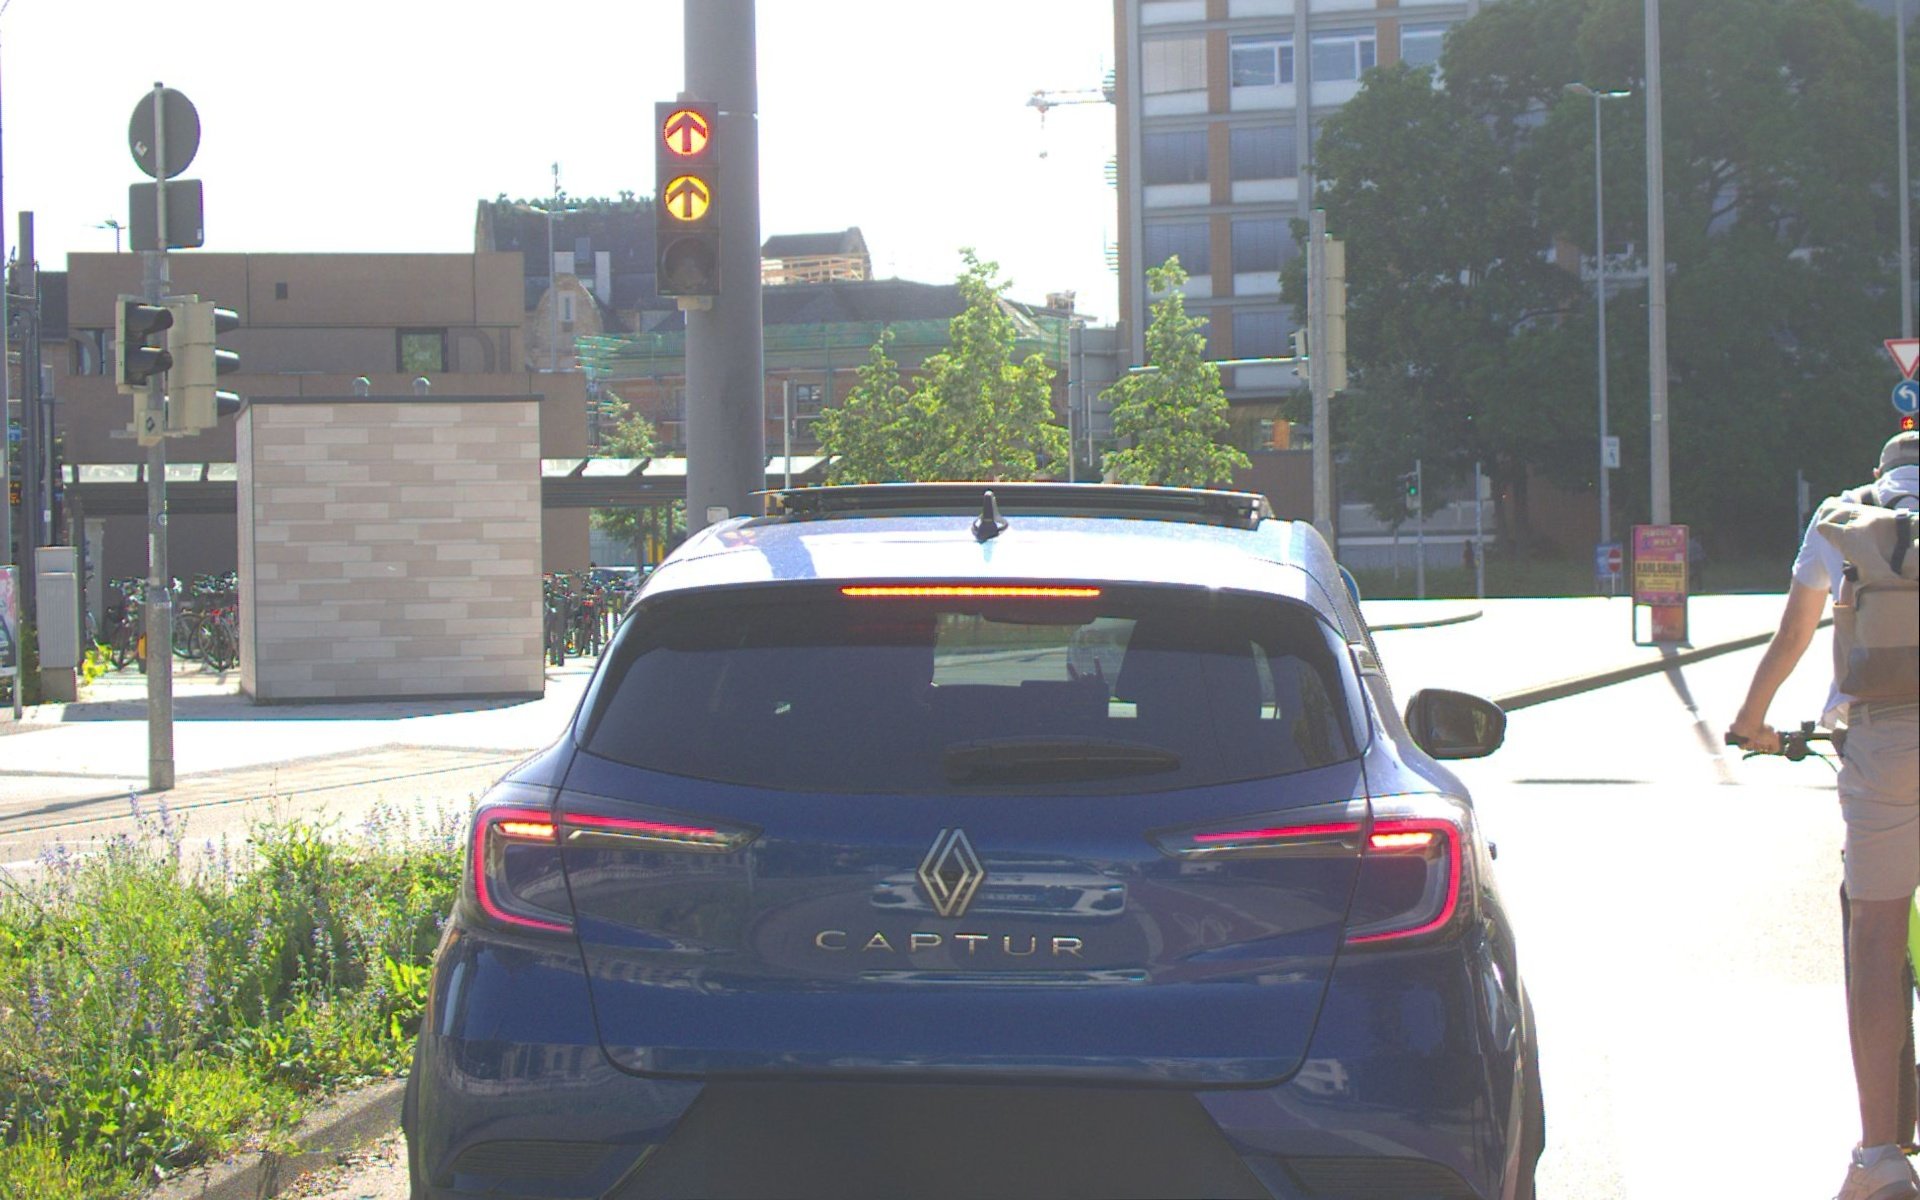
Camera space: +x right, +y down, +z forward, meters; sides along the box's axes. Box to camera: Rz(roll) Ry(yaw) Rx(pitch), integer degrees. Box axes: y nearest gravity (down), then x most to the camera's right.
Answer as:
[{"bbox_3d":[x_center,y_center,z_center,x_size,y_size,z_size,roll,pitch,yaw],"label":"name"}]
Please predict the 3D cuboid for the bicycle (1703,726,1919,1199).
[{"bbox_3d":[2.102,0.872,7.714,0.663,1.043,1.890,0,2,6],"label":"bicycle"}]

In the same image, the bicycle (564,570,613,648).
[{"bbox_3d":[-5.273,0.134,48.685,0.580,1.084,2.059,0,0,-9],"label":"bicycle"}]

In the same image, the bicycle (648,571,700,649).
[{"bbox_3d":[-4.063,0.138,48.757,0.580,1.084,2.059,0,0,-9],"label":"bicycle"}]

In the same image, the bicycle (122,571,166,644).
[{"bbox_3d":[-12.388,0.112,52.208,0.565,1.090,2.030,0,0,-11],"label":"bicycle"}]

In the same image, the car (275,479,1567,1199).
[{"bbox_3d":[0.091,0.603,6.676,1.823,1.594,3.658,1,1,5],"label":"car"}]

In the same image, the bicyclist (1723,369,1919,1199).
[{"bbox_3d":[2.096,0.381,7.662,0.664,1.741,1.005,0,1,7],"label":"bicyclist"}]

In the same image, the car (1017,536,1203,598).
[{"bbox_3d":[3.776,-0.816,86.971,4.406,1.516,1.966,0,0,38],"label":"car"}]

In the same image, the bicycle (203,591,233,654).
[{"bbox_3d":[-11.366,0.339,52.644,0.421,0.934,1.379,1,0,-11],"label":"bicycle"}]

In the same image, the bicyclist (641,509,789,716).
[{"bbox_3d":[-1.987,0.095,28.028,0.880,1.639,1.060,-1,0,14],"label":"bicyclist"}]

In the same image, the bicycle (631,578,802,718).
[{"bbox_3d":[-1.963,0.376,28.026,0.773,1.077,2.034,-1,0,14],"label":"bicycle"}]

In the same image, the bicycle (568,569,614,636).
[{"bbox_3d":[-6.037,0.047,56.159,0.580,1.084,1.872,0,0,-11],"label":"bicycle"}]

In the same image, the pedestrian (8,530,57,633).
[{"bbox_3d":[-16.949,-0.330,62.804,0.847,1.877,0.761,0,0,-16],"label":"pedestrian"}]

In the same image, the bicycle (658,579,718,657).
[{"bbox_3d":[-3.420,0.227,43.114,0.580,0.958,2.059,0,0,-9],"label":"bicycle"}]

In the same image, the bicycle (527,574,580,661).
[{"bbox_3d":[-5.049,0.219,42.650,0.580,1.054,1.817,0,0,-9],"label":"bicycle"}]

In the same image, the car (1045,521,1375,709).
[{"bbox_3d":[2.277,0.089,30.250,1.802,1.388,4.089,-1,3,20],"label":"car"}]

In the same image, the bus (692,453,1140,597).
[{"bbox_3d":[-1.300,-1.789,86.707,12.434,3.384,2.876,0,0,40],"label":"bus"}]

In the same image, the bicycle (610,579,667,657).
[{"bbox_3d":[-4.032,0.224,43.026,0.580,0.958,2.059,0,0,-9],"label":"bicycle"}]

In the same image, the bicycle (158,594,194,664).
[{"bbox_3d":[-10.866,0.393,47.621,0.421,0.934,1.306,1,0,-15],"label":"bicycle"}]

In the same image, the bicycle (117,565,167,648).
[{"bbox_3d":[-10.915,0.088,45.899,0.565,1.090,2.030,0,0,-11],"label":"bicycle"}]

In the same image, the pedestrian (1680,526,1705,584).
[{"bbox_3d":[21.113,-1.286,99.085,0.561,1.664,0.475,0,-1,37],"label":"pedestrian"}]
